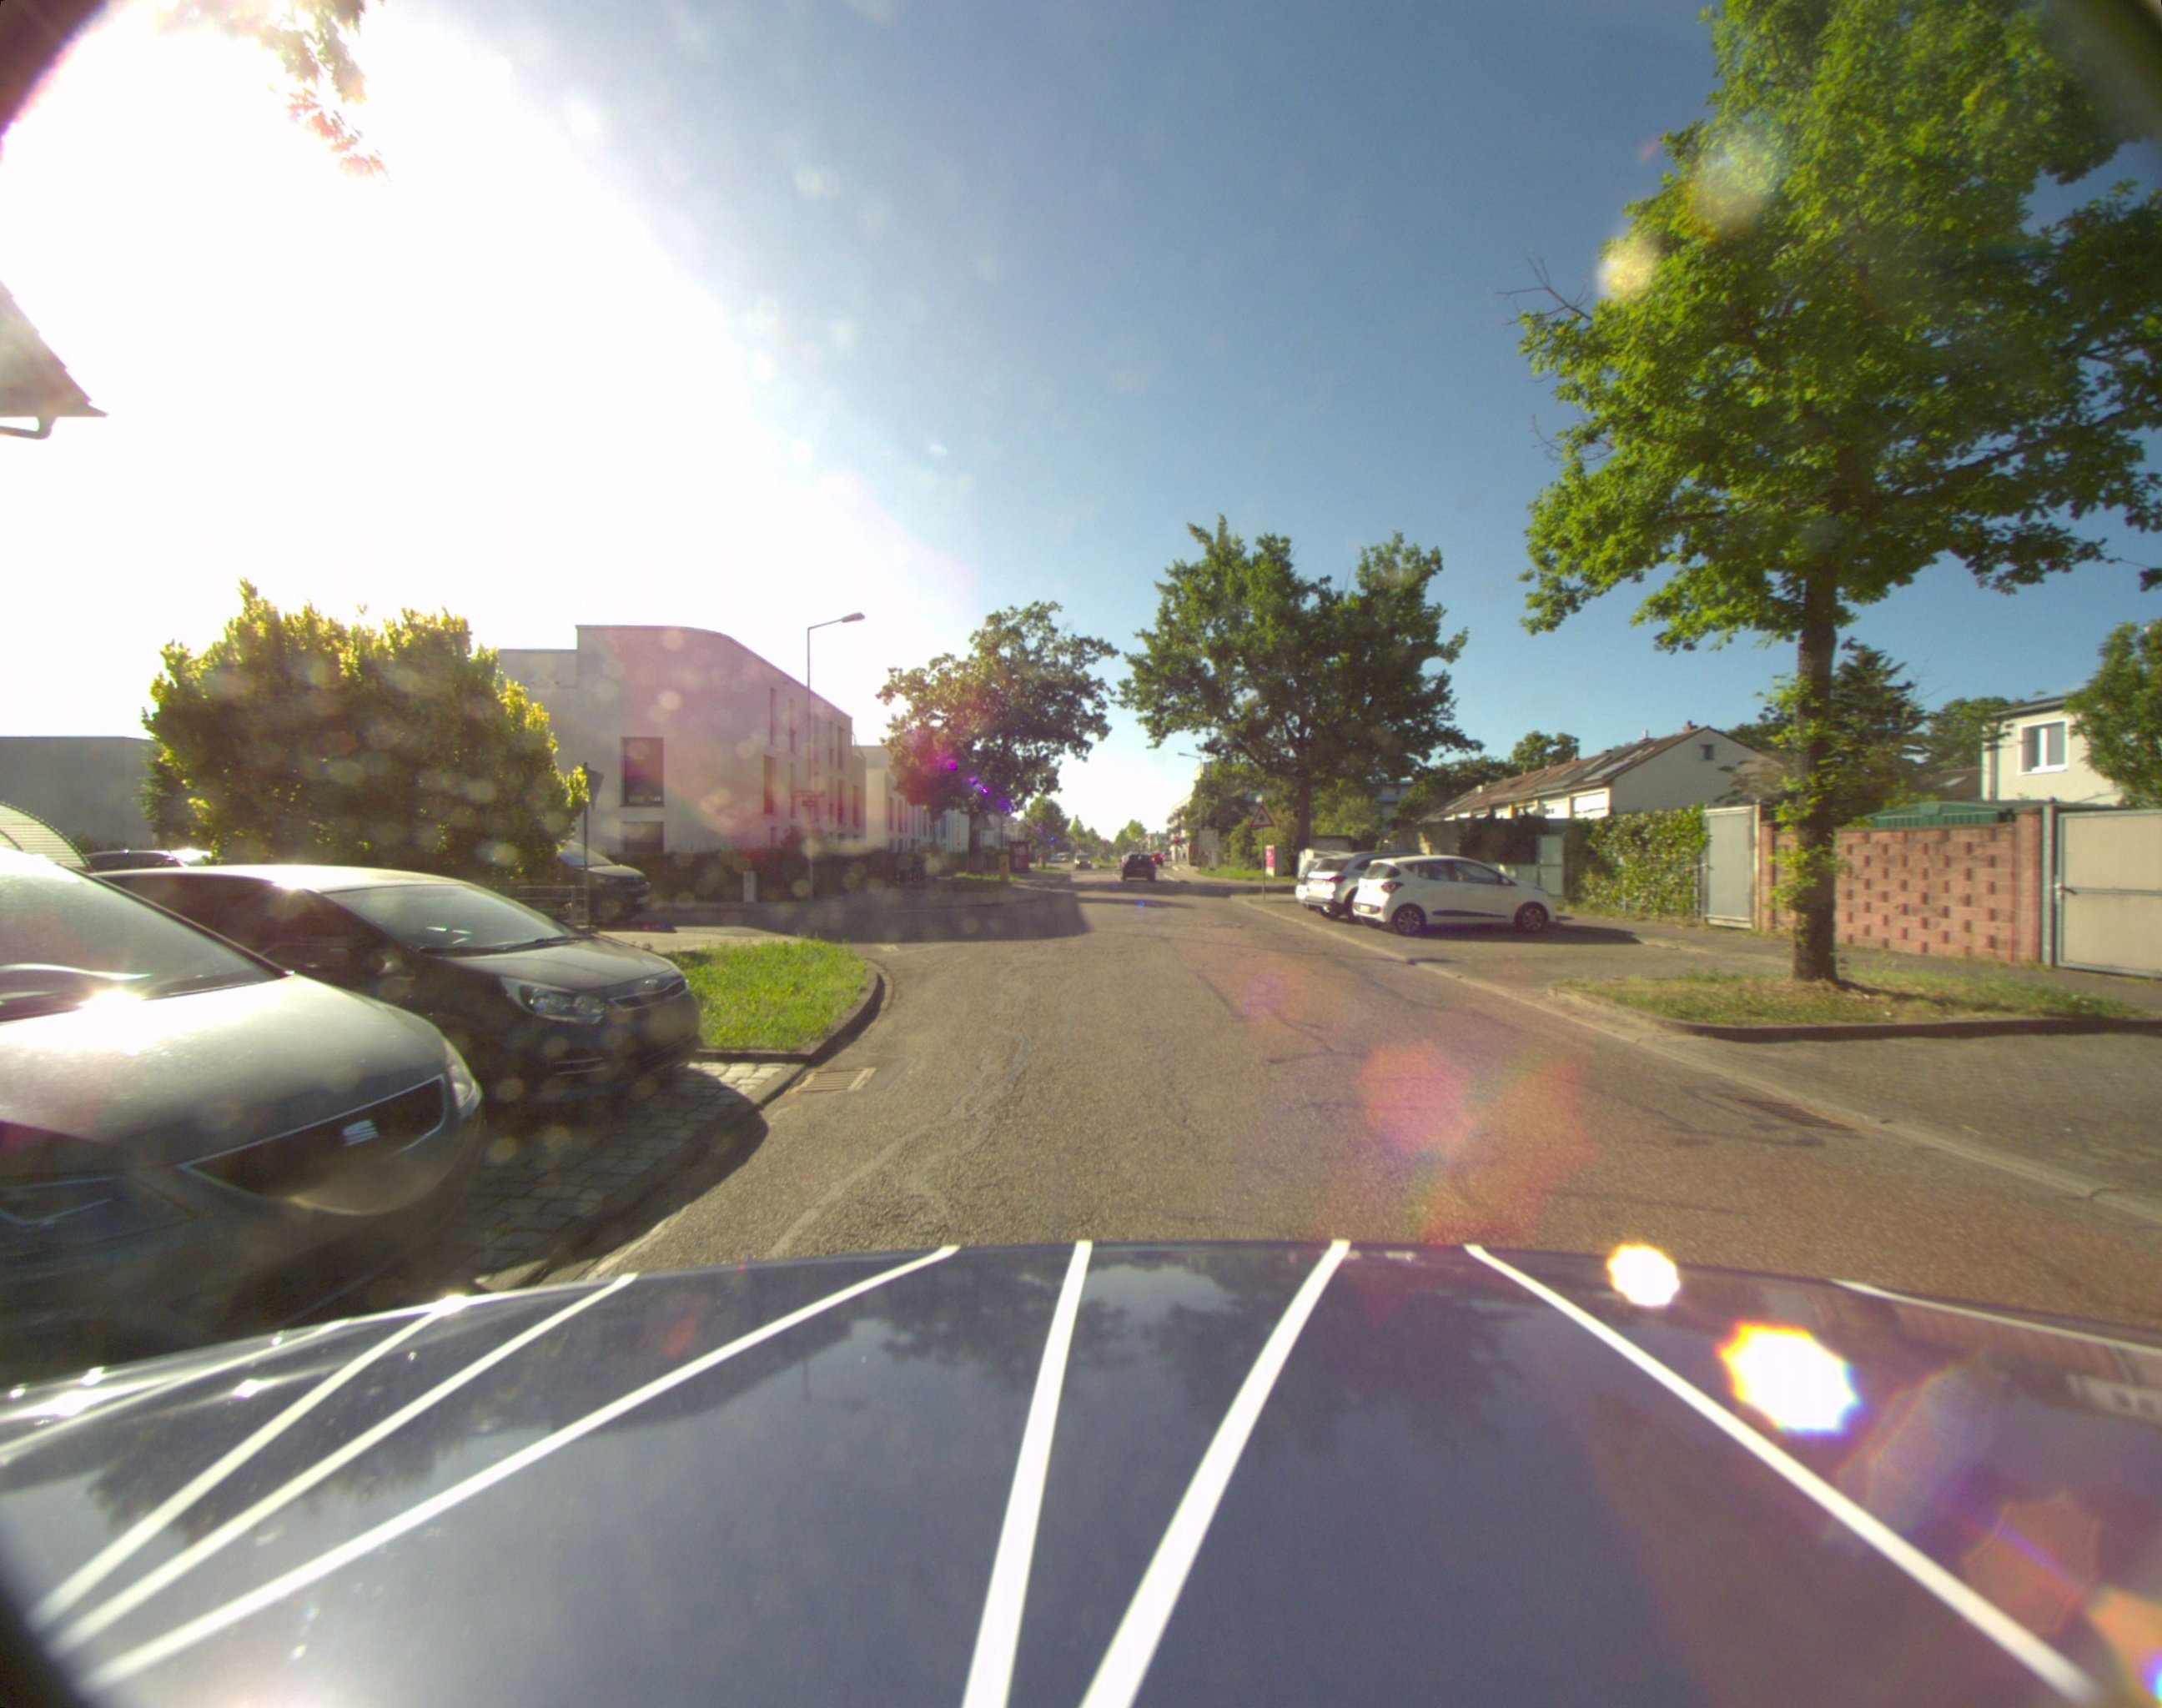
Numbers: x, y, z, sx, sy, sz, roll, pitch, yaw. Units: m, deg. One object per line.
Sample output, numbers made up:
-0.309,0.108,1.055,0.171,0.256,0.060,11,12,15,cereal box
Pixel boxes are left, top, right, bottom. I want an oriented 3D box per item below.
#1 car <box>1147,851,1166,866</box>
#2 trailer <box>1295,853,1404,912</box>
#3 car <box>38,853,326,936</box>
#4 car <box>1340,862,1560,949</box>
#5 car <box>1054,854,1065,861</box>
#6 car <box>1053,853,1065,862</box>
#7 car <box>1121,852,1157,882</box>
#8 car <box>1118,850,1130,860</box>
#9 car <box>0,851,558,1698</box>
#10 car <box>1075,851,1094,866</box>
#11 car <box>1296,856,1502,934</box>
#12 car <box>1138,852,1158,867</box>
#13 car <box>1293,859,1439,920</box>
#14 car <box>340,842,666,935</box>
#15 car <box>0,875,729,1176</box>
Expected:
8.107,0.465,81.763,1.765,1.469,3.851,-3,0,2,car
7.994,0.824,22.744,2.767,1.638,1.298,-1,3,-4,trailer
-18.240,0.782,15.582,3.558,1.594,1.912,0,1,-1,car
7.189,0.965,15.038,3.523,1.487,1.707,-1,2,-2,car
-4.100,0.627,146.589,1.830,1.324,3.678,1,0,4,car
-4.034,0.648,138.880,1.944,1.412,4.000,0,1,2,car
3.206,0.696,42.694,1.742,1.532,3.946,0,1,1,car
6.713,0.090,119.232,1.878,1.470,3.850,0,1,2,car
-4.499,0.833,2.263,4.514,1.670,1.879,2,1,-1,car
0.413,0.462,80.588,1.878,1.470,3.850,0,1,2,car
7.271,0.894,17.596,3.965,1.565,1.920,-1,2,-6,car
6.534,0.550,74.683,1.765,1.389,3.852,-2,-2,2,car
7.509,0.914,20.246,3.303,1.470,1.615,-1,2,1,car
-11.852,0.653,15.896,5.208,1.805,1.912,0,1,-4,car
-4.622,0.921,4.798,3.955,1.353,1.683,3,0,-1,car
